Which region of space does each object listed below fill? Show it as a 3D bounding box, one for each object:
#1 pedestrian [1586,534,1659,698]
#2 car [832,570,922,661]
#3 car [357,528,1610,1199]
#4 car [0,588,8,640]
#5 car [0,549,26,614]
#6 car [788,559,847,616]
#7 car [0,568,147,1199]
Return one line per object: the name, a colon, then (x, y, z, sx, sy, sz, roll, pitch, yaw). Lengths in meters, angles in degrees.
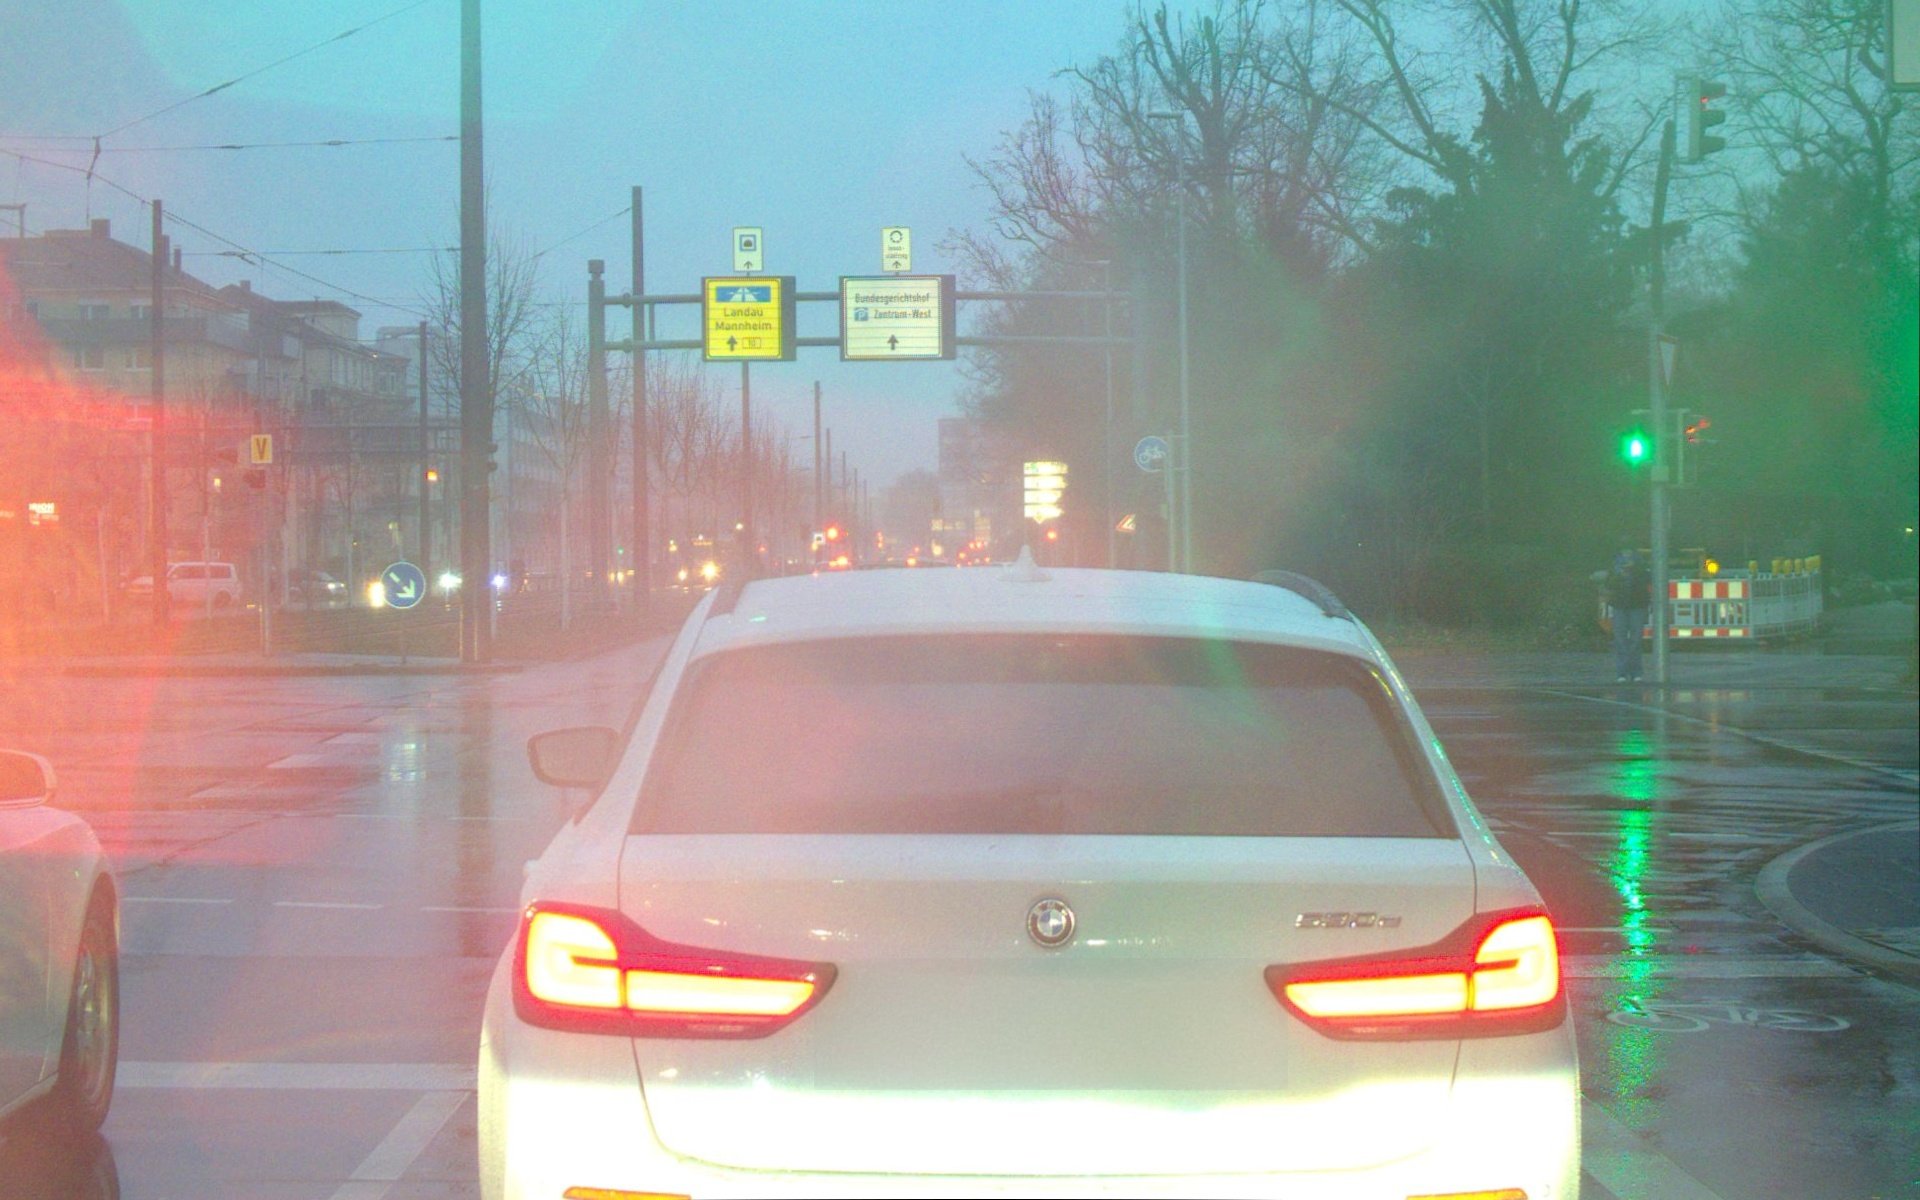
pedestrian: (7.697, 0.182, 39.964, 0.673, 1.873, 0.715, 1, 0, -1)
car: (-1.888, 0.324, 78.992, 1.993, 2.007, 4.000, 1, 1, -1)
car: (-0.064, 0.661, 6.981, 1.759, 1.547, 4.252, 1, 1, -3)
car: (-27.585, 0.401, 93.755, 1.993, 1.457, 5.095, 1, 1, -2)
car: (-22.522, -0.428, 77.344, 1.993, 1.457, 5.096, 1, 1, -4)
car: (-5.148, -0.450, 124.666, 1.993, 2.007, 4.000, 1, 1, -1)
car: (-2.953, 0.663, 7.000, 1.759, 1.464, 4.252, 1, 1, -3)
